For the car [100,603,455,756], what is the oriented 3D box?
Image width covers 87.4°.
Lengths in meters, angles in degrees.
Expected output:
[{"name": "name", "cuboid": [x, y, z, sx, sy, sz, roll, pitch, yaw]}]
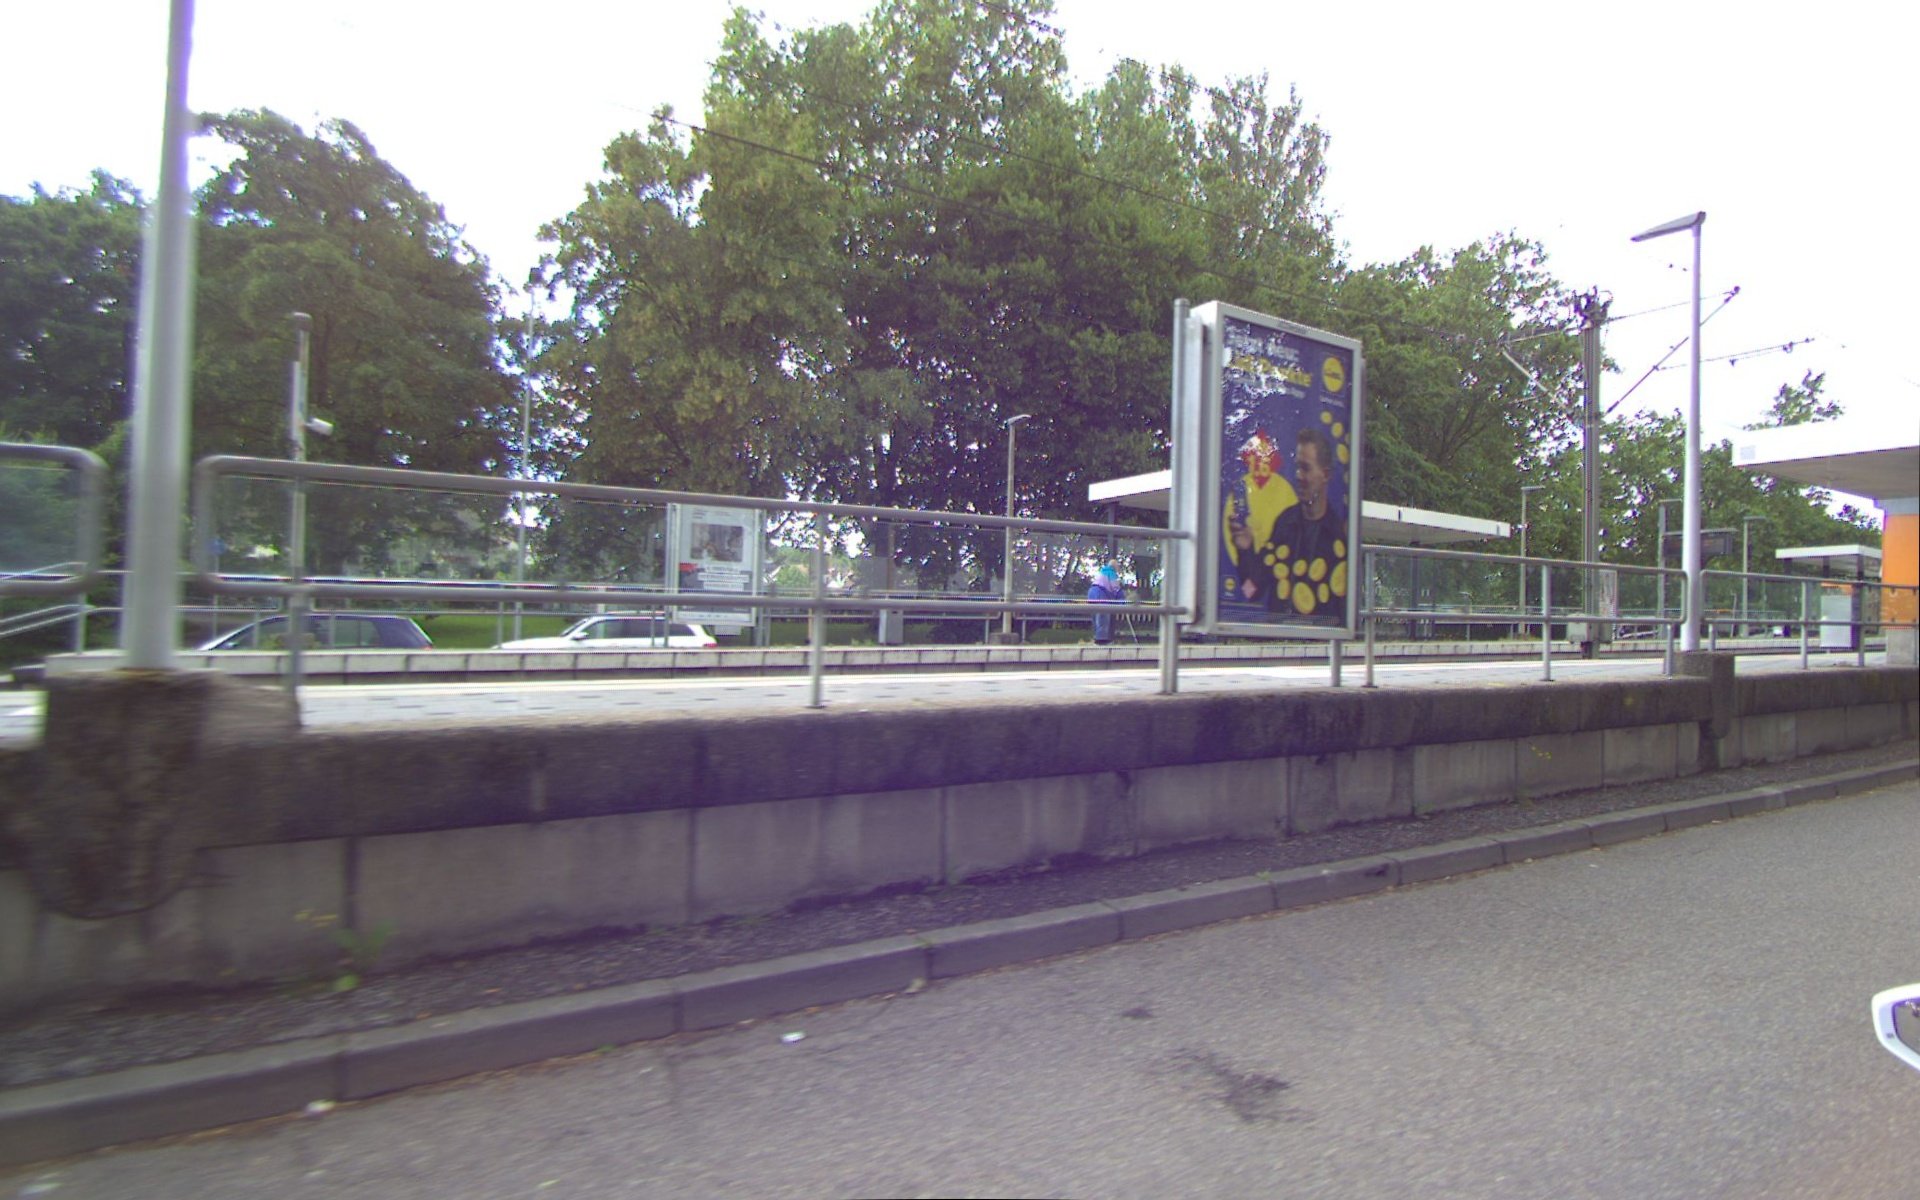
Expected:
[{"name": "car", "cuboid": [-9.590, 1.082, 14.463, 3.956, 1.885, 1.687, 3, 0, -32]}]

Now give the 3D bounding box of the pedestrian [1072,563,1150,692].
[{"name": "pedestrian", "cuboid": [2.682, 0.488, 17.853, 0.964, 2.215, 0.965, 2, -1, -30]}]

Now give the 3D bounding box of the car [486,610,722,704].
[{"name": "car", "cuboid": [-7.372, 1.198, 20.955, 4.351, 1.774, 1.701, 3, -3, -32]}]
